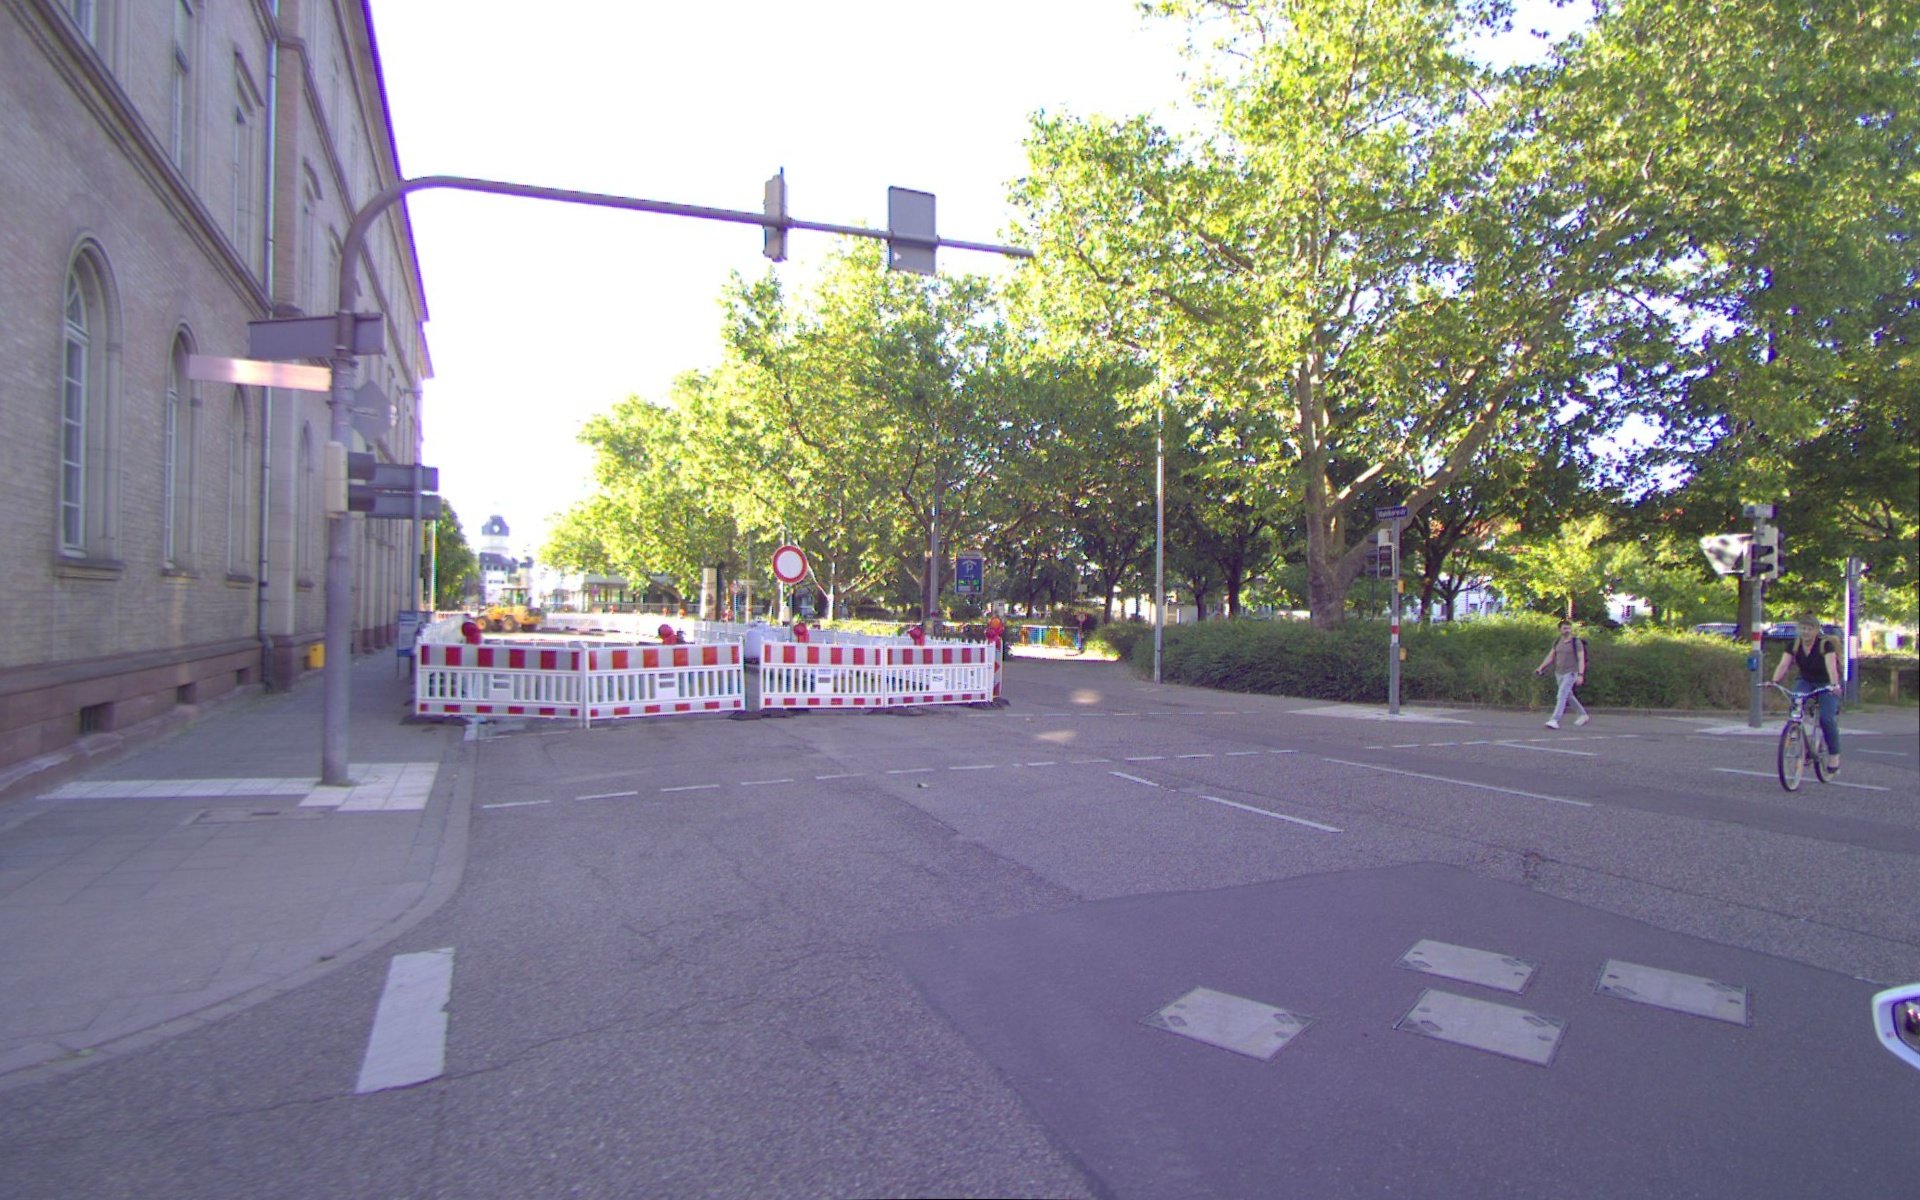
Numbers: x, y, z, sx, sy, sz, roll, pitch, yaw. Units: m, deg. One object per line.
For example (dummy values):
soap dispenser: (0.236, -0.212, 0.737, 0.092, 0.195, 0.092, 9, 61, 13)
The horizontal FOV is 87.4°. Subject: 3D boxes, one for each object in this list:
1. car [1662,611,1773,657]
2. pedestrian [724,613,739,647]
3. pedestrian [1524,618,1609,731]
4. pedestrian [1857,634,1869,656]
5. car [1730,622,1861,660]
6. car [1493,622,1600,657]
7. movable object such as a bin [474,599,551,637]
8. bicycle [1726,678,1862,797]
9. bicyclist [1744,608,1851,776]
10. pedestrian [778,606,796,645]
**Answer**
car: (41.858, 1.867, 55.615, 2.048, 2.423, 4.538, 2, -2, -27)
pedestrian: (-13.901, 1.845, 61.078, 0.601, 2.040, 0.819, 1, 0, -31)
pedestrian: (9.639, 1.171, 15.980, 0.939, 1.745, 0.703, 1, -2, -15)
pedestrian: (55.300, 2.769, 61.518, 0.552, 1.341, 0.574, 0, -1, 45)
car: (40.743, 1.977, 49.094, 2.048, 1.753, 4.538, 2, -2, -27)
car: (30.946, 2.064, 53.112, 2.048, 1.753, 4.538, 2, -2, -27)
movable object such as a bin: (-27.214, 1.108, 61.115, 3.919, 2.220, 1.943, 0, -1, 13)
bicycle: (8.153, 1.294, 9.792, 1.824, 0.982, 0.611, 1, -1, -37)
bicyclist: (8.171, 0.864, 9.800, 0.895, 1.552, 0.611, 1, -1, -36)
pedestrian: (-9.100, 1.349, 52.734, 0.640, 2.040, 0.819, 1, 0, -31)
